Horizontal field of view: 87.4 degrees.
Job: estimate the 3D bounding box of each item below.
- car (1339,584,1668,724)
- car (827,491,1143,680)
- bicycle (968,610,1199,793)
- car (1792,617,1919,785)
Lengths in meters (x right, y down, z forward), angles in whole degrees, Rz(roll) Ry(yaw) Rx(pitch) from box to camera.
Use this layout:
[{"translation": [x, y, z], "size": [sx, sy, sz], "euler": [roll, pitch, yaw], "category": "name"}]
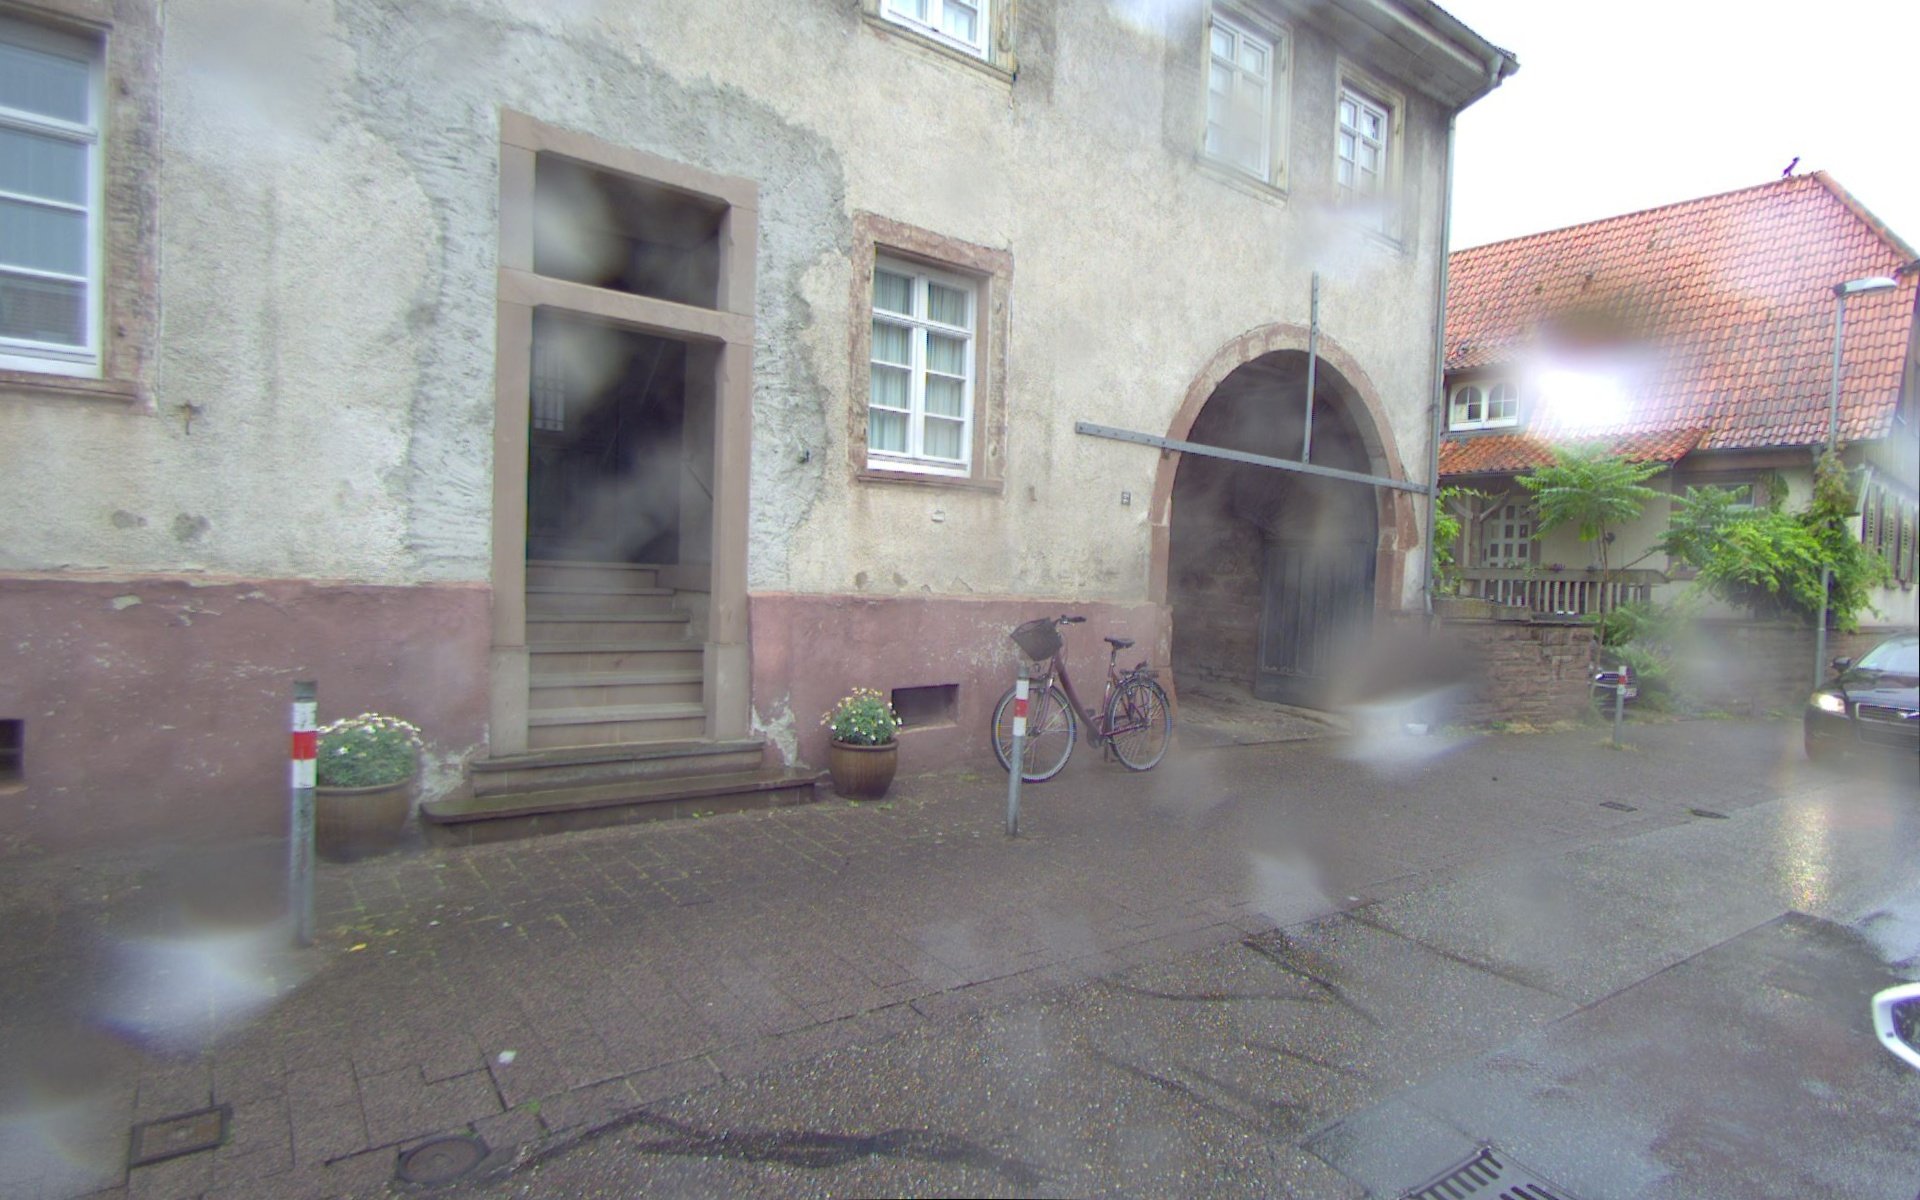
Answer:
[{"translation": [7.988, 0.707, 15.164], "size": [1.715, 1.444, 3.967], "euler": [2, 5, -30], "category": "car"}, {"translation": [0.159, -0.300, 13.529], "size": [1.869, 1.957, 4.194], "euler": [6, 3, -37], "category": "car"}, {"translation": [0.959, 0.692, 7.455], "size": [1.858, 1.194, 0.478], "euler": [1, 4, -38], "category": "bicycle"}, {"translation": [10.655, 1.026, 10.708], "size": [4.299, 1.529, 1.684], "euler": [2, 0, -36], "category": "car"}]
